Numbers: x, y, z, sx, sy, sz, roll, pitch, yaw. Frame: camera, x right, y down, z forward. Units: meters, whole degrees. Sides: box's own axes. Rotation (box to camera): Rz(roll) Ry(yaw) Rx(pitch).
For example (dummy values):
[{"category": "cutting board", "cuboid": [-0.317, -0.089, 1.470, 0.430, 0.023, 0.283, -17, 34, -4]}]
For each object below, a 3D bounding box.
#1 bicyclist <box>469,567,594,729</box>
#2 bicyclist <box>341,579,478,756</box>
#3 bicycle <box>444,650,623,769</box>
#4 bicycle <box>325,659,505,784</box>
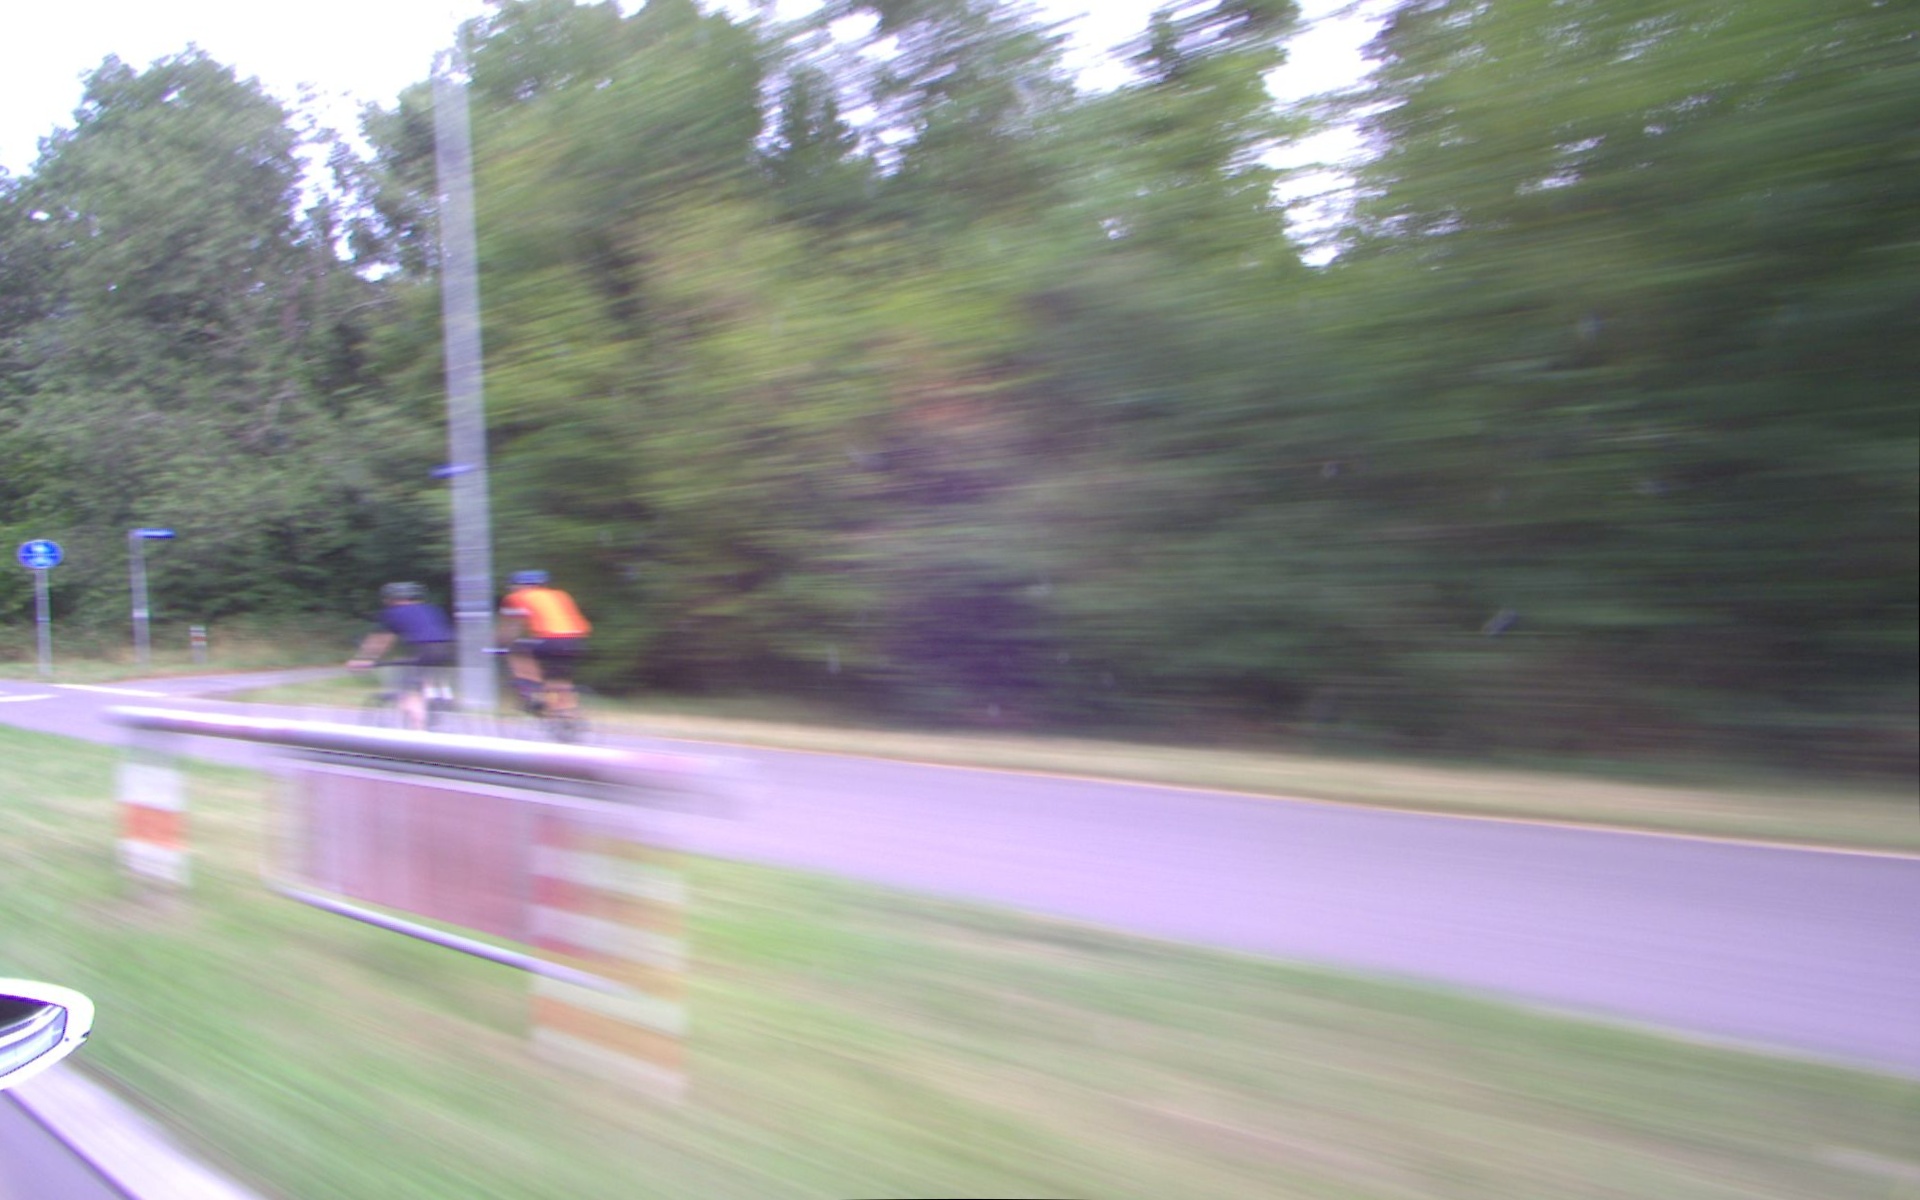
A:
[{"category": "bicyclist", "cuboid": [-4.020, 0.445, 9.386, 1.170, 1.433, 0.519, -1, -2, 33]}, {"category": "bicyclist", "cuboid": [-4.742, 0.558, 8.609, 1.170, 1.434, 0.518, -1, 0, 33]}, {"category": "bicycle", "cuboid": [-4.004, 0.979, 9.343, 1.860, 0.924, 0.564, 0, 3, 33]}, {"category": "bicycle", "cuboid": [-4.698, 0.999, 8.597, 1.730, 0.924, 0.564, -1, 2, 33]}]
